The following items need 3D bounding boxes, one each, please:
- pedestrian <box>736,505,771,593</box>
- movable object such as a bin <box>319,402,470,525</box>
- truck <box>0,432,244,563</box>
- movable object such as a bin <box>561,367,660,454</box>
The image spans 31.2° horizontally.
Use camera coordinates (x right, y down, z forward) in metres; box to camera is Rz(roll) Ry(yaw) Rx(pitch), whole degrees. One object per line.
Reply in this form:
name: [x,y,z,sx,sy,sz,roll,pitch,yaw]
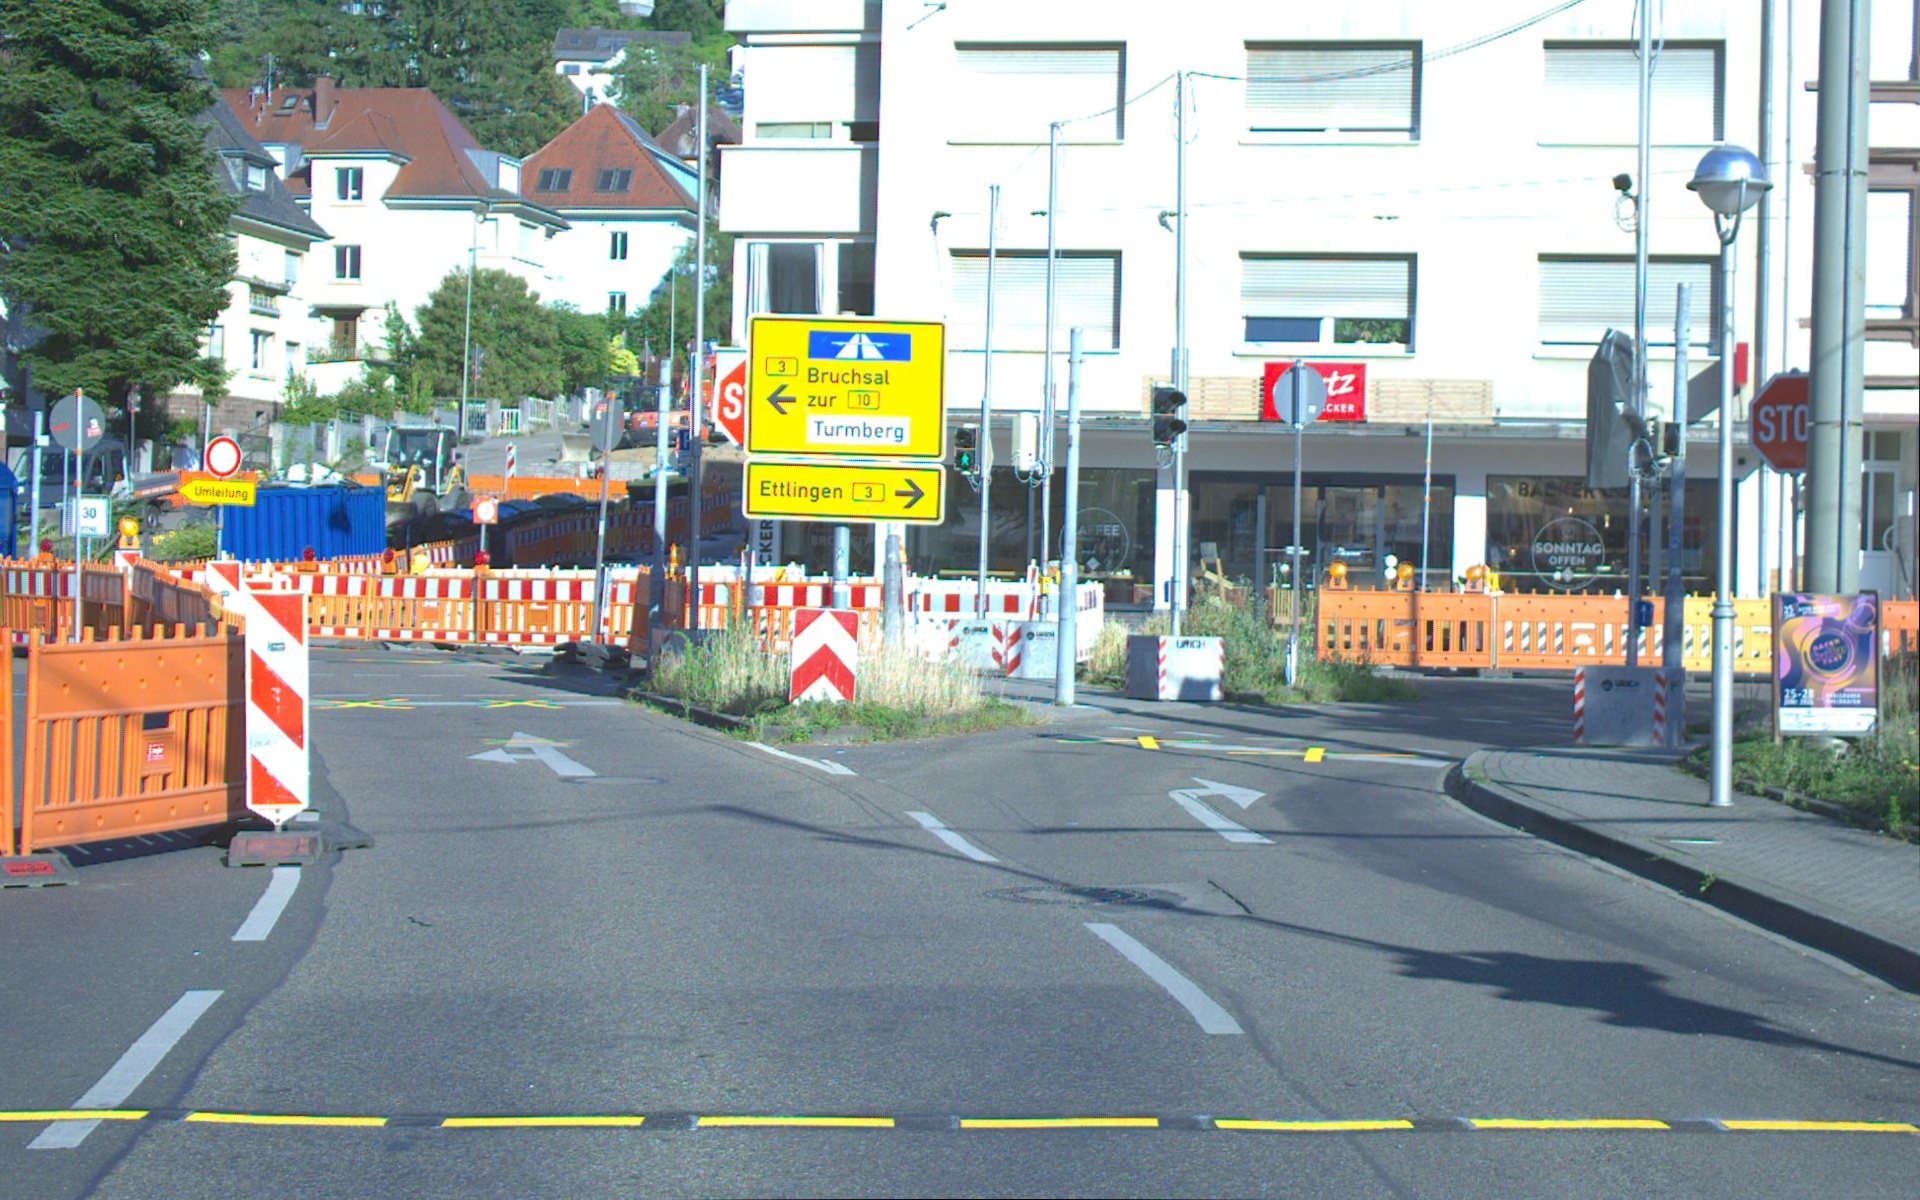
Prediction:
pedestrian: [-4.163,-1.035,69.304,0.640,1.754,0.718,1,1,-1]
movable object such as a bin: [-13.016,-3.121,79.370,2.191,2.681,3.998,1,1,10]
truck: [-17.217,-1.981,68.649,2.357,2.407,9.147,1,1,11]
movable object such as a bin: [-11.539,-6.249,113.741,2.191,2.681,3.998,1,1,10]
